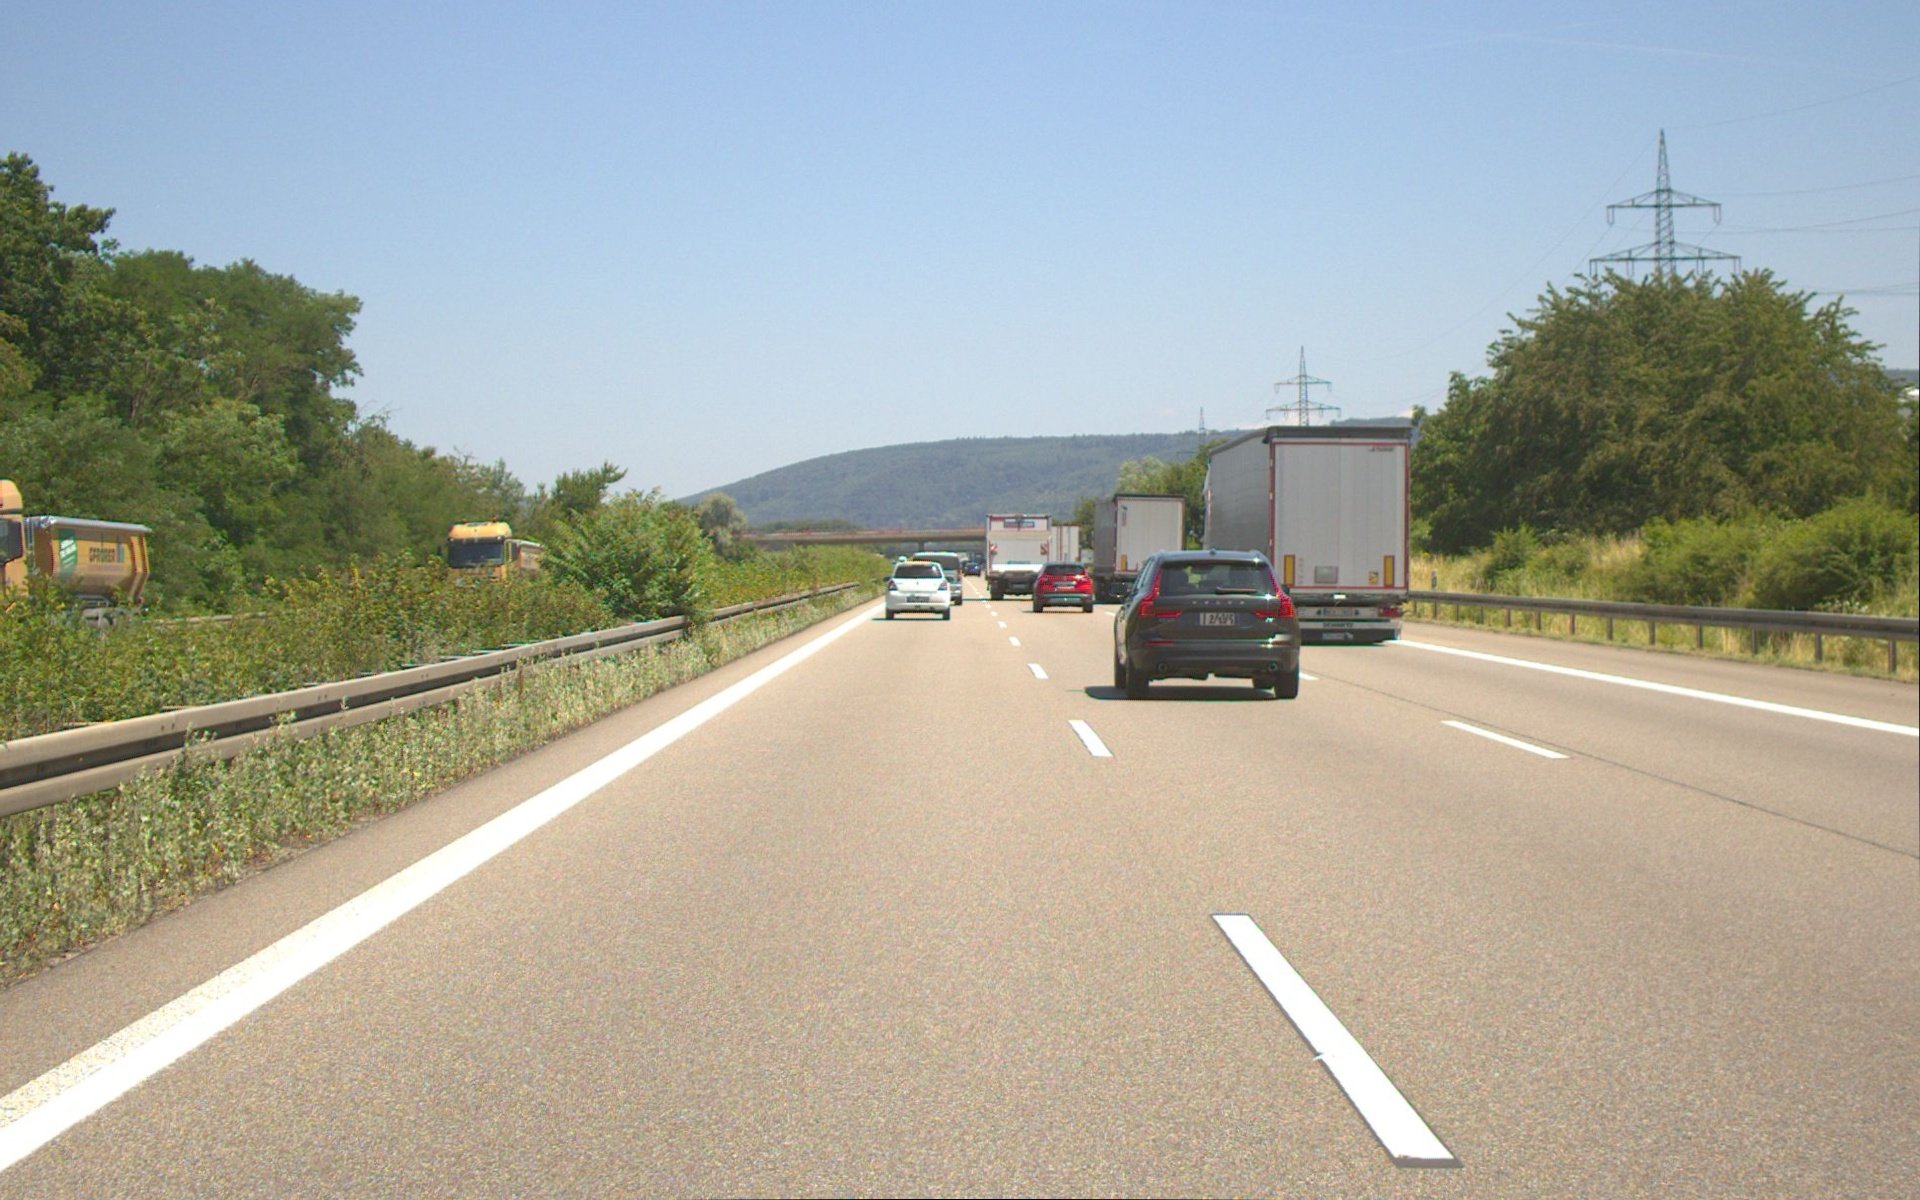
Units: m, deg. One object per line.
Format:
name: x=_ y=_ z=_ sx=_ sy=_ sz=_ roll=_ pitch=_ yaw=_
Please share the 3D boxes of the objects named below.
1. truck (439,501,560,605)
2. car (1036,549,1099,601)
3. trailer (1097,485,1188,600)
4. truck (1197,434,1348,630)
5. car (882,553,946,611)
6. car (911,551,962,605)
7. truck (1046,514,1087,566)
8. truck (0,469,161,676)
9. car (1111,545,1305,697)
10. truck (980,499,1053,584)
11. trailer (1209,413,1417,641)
truck: x=-17.692 y=-1.835 z=132.886 sx=2.899 sy=3.693 sz=11.899 roll=-3 pitch=1 yaw=0
car: x=3.261 y=-0.772 z=104.713 sx=1.803 sy=1.540 sz=4.000 roll=0 pitch=1 yaw=0
trailer: x=6.933 y=-2.158 z=132.398 sx=2.789 sy=4.149 sz=13.574 roll=-1 pitch=1 yaw=0
truck: x=6.797 y=-1.462 z=75.477 sx=2.736 sy=4.105 sz=6.125 roll=0 pitch=1 yaw=0
car: x=-1.196 y=-0.486 z=90.239 sx=1.607 sy=1.463 sz=4.000 roll=-1 pitch=1 yaw=-1
car: x=-0.844 y=-0.805 z=122.235 sx=1.760 sy=1.844 sz=4.000 roll=-1 pitch=1 yaw=-1
truck: x=6.803 y=-3.808 z=220.077 sx=2.221 sy=3.198 sz=10.385 roll=-1 pitch=1 yaw=0
truck: x=-18.100 y=-0.492 z=66.246 sx=2.538 sy=3.622 sz=11.845 roll=-3 pitch=1 yaw=0
car: x=2.740 y=0.198 z=38.796 sx=1.873 sy=1.618 sz=4.004 roll=0 pitch=1 yaw=0
truck: x=2.266 y=-2.343 z=140.422 sx=2.782 sy=3.361 sz=8.128 roll=0 pitch=0 yaw=0
trailer: x=6.818 y=-1.378 z=68.347 sx=2.736 sy=4.092 sz=13.122 roll=0 pitch=1 yaw=0
